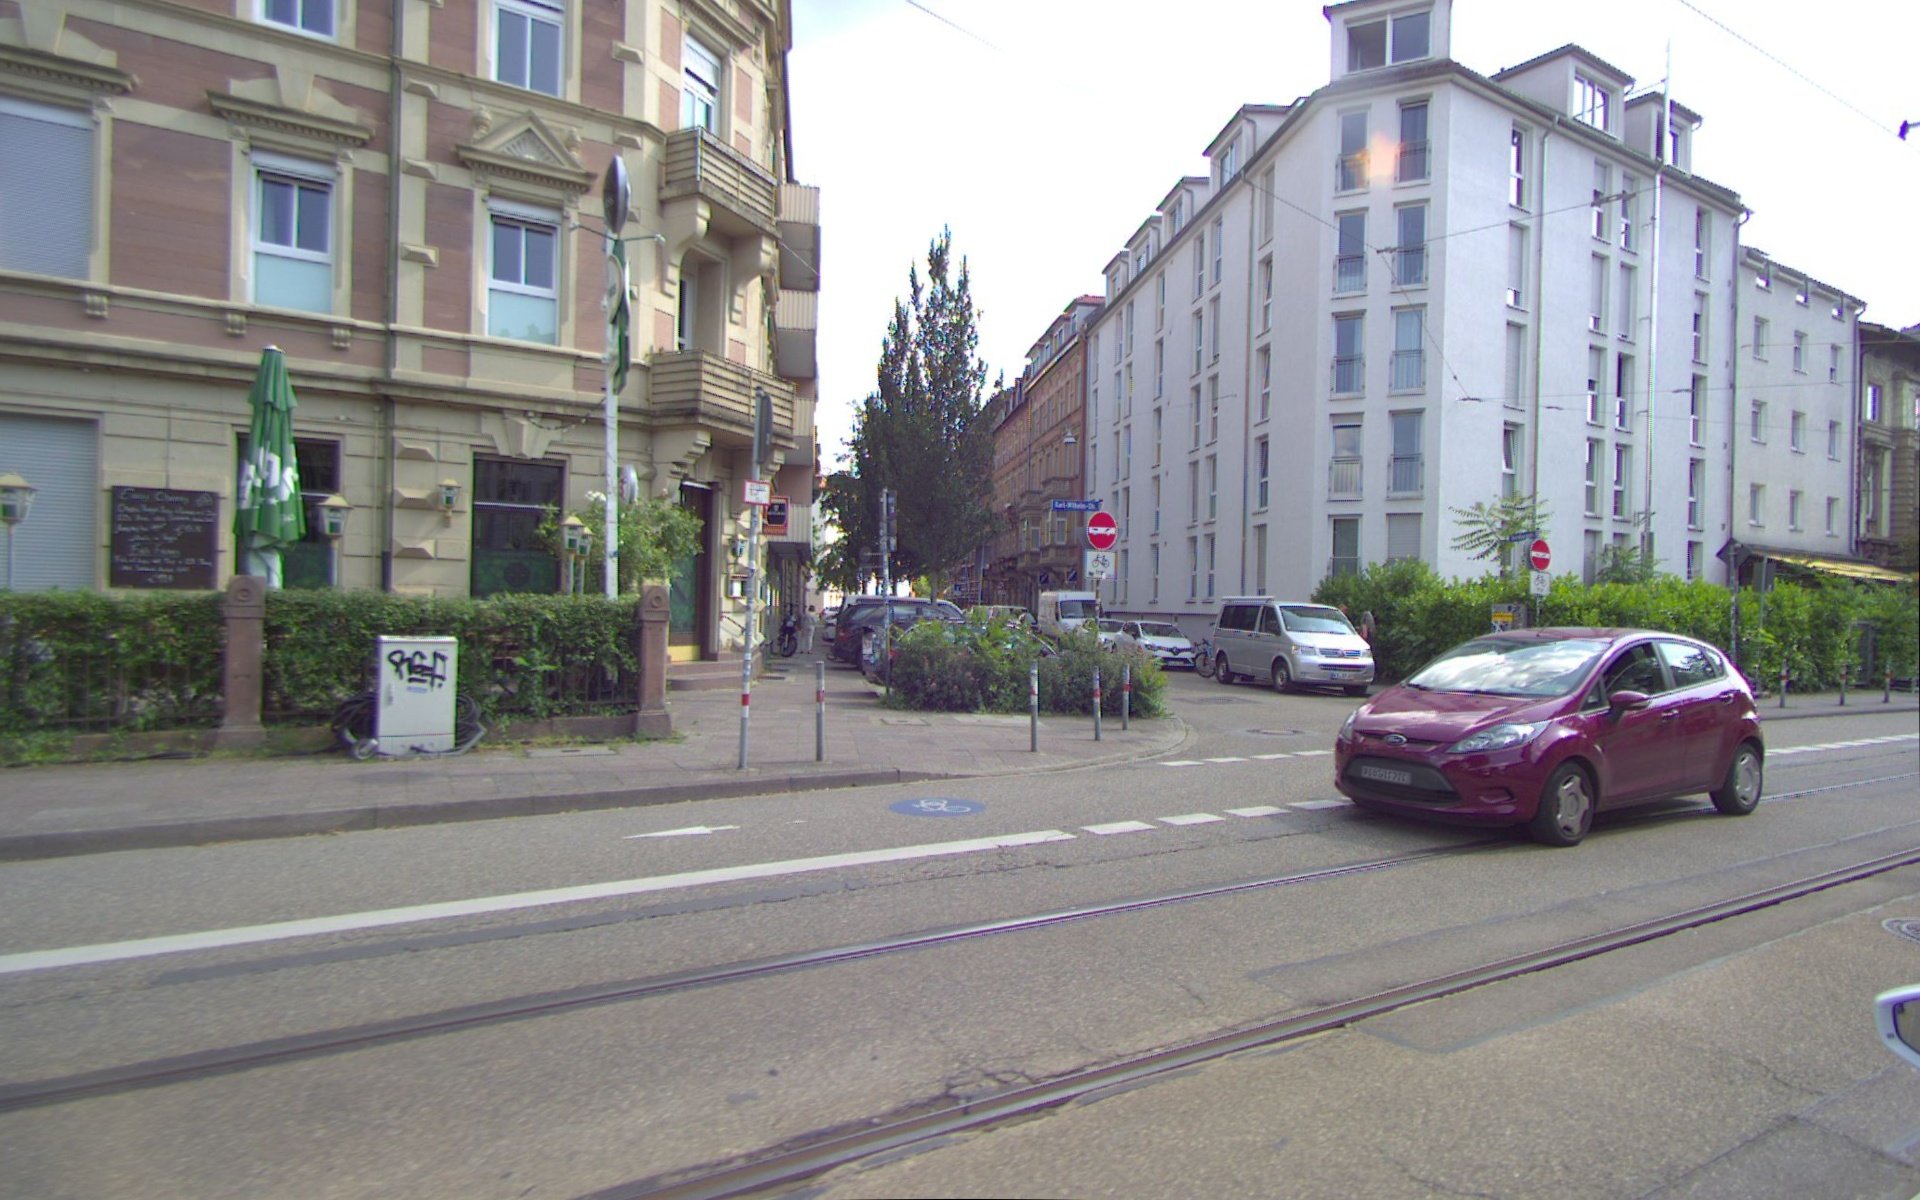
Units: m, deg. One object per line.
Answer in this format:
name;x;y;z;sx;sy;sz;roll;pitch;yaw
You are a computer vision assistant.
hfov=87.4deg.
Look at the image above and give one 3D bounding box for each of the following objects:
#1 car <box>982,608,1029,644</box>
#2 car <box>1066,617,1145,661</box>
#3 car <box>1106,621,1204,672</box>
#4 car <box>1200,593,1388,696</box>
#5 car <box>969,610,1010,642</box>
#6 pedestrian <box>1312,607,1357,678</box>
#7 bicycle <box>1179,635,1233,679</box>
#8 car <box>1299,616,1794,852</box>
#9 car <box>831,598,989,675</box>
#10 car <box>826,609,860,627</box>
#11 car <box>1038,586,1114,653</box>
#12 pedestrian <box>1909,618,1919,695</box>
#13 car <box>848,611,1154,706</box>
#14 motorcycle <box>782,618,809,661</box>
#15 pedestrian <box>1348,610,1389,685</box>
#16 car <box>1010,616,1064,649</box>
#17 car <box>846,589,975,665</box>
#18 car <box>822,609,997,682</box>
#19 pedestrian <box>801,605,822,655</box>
car;2.428;1.368;54.137;1.630;1.861;3.992;1;0;-11
car;5.223;1.375;36.554;1.630;1.434;3.992;1;0;-11
car;6.025;1.411;31.527;1.630;1.434;3.992;1;0;-11
car;7.292;0.931;22.575;2.012;2.040;4.940;1;-1;-8
car;1.745;1.552;61.553;1.630;1.861;4.159;1;0;-11
pedestrian;9.240;1.035;24.788;0.772;1.721;0.633;1;0;-18
bicycle;6.571;1.511;26.958;0.769;1.080;2.031;1;0;-5
car;4.641;0.890;7.852;3.888;1.459;1.588;2;-2;-29
car;-1.268;0.866;24.557;3.698;1.729;1.891;1;0;-7
car;-9.570;1.481;82.210;2.769;1.384;1.274;1;0;-7
car;4.715;0.782;41.664;2.102;2.541;5.671;1;0;-4
pedestrian;24.770;1.432;25.289;0.820;1.943;1.054;1;0;-30
car;0.689;0.940;17.029;4.863;1.383;1.894;1;0;2
motorcycle;-4.879;1.162;29.794;0.655;1.216;1.651;1;0;-6
pedestrian;9.565;1.107;23.506;0.775;1.721;0.479;1;0;-30
car;3.708;1.552;48.818;1.630;1.434;3.992;1;0;-11
car;-1.440;0.746;28.489;3.519;2.022;1.703;1;0;-7
car;-1.177;0.987;22.483;3.699;1.419;1.891;2;0;-7
pedestrian;-4.803;0.959;32.450;0.587;1.594;0.685;1;0;-5
